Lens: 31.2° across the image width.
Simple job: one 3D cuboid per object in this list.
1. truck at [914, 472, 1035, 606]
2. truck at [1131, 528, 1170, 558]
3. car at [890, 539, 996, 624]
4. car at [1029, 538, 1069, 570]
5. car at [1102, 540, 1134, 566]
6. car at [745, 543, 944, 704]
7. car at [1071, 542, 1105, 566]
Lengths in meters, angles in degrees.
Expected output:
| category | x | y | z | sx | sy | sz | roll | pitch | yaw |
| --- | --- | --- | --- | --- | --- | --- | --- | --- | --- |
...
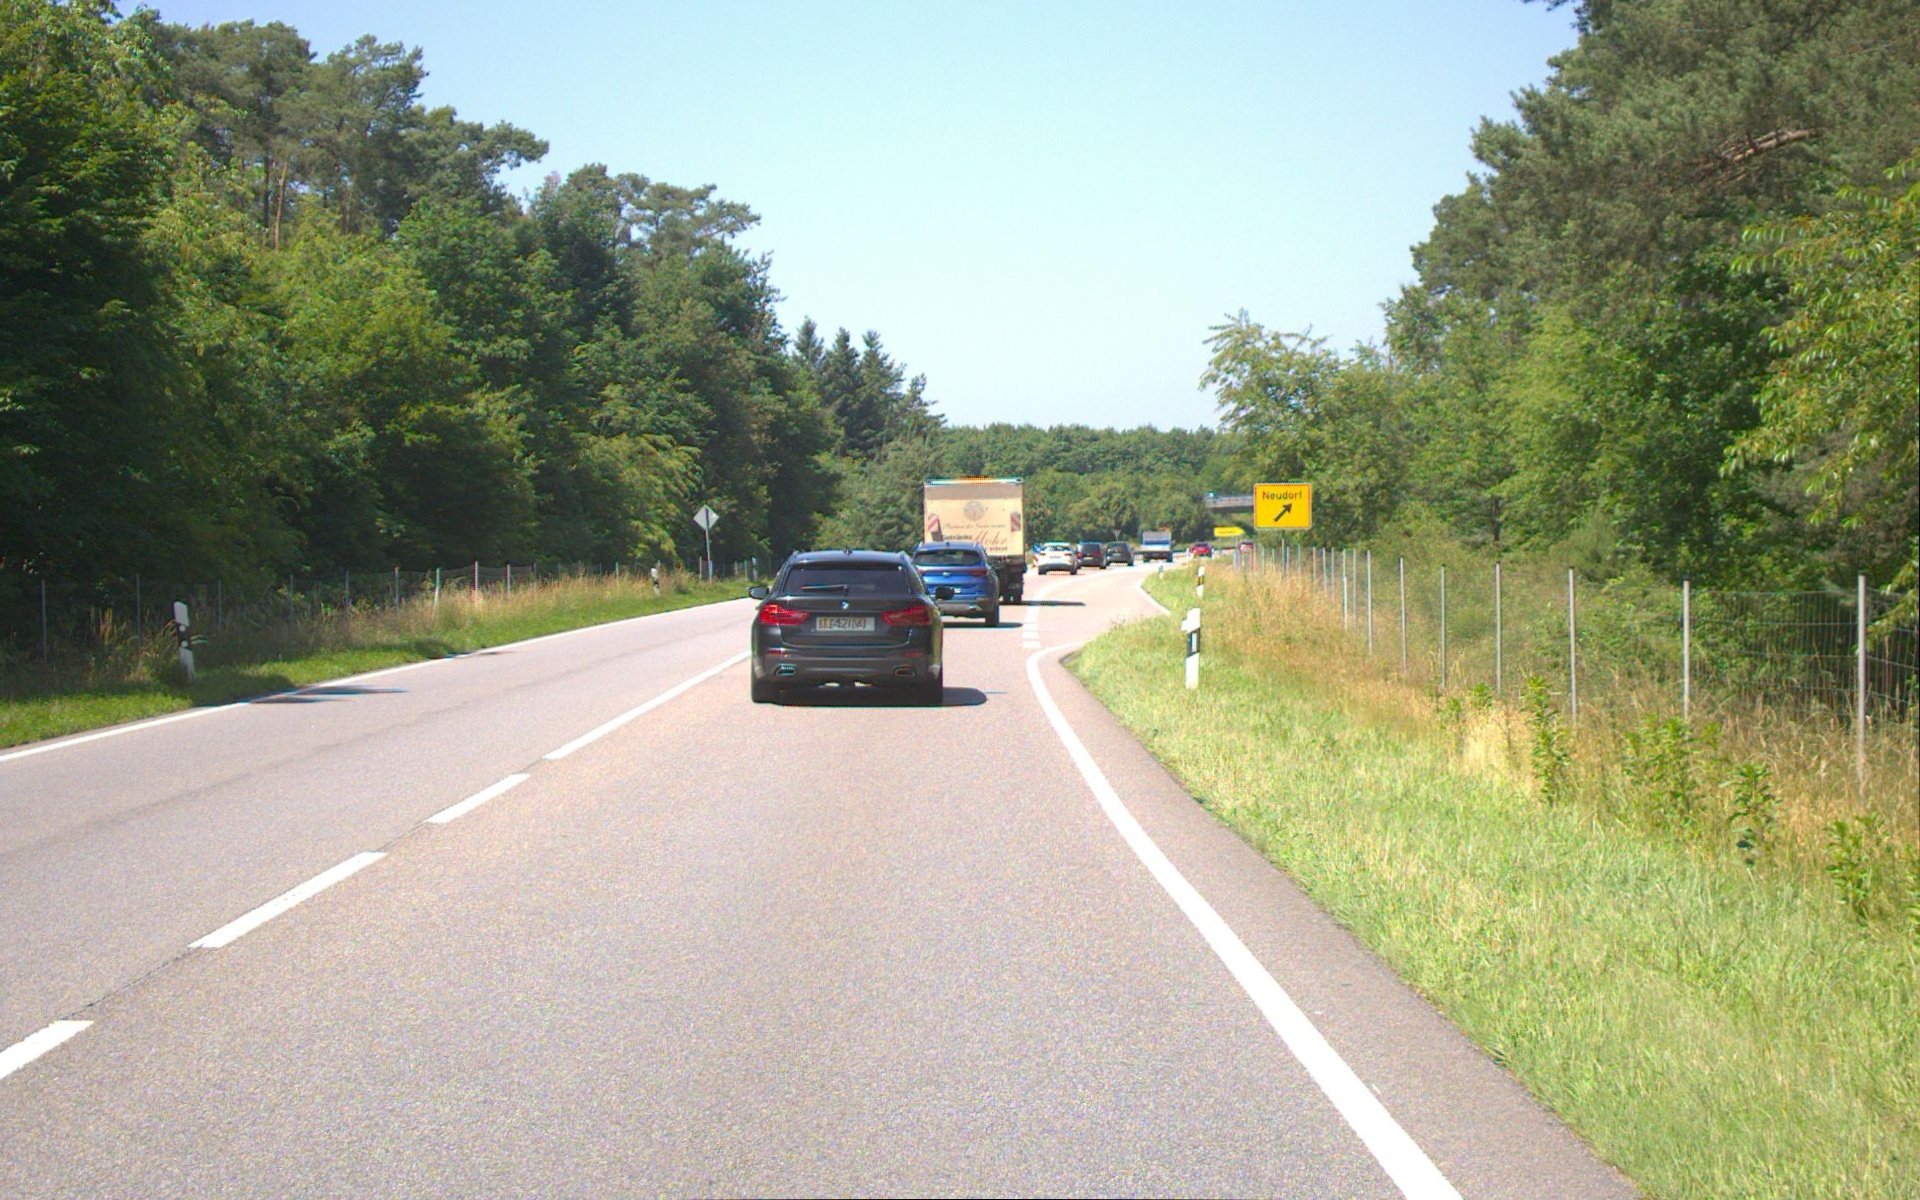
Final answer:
| category | x | y | z | sx | sy | sz | roll | pitch | yaw |
| --- | --- | --- | --- | --- | --- | --- | --- | --- | --- |
| truck | 0.436 | -1.622 | 90.195 | 2.966 | 3.376 | 6.438 | -1 | 1 | 2 |
| truck | 14.483 | -4.339 | 261.762 | 2.563 | 2.195 | 4.974 | -1 | 1 | -2 |
| car | -0.339 | -0.377 | 66.286 | 1.947 | 1.536 | 4.000 | -2 | 1 | -1 |
| car | 4.569 | -2.382 | 177.075 | 1.863 | 1.600 | 4.000 | -1 | 1 | -1 |
| car | 10.558 | -3.159 | 229.720 | 1.994 | 1.631 | 4.000 | -1 | 1 | 4 |
| car | -1.203 | 0.188 | 34.220 | 1.820 | 1.465 | 4.001 | -1 | 1 | -4 |
| car | 7.710 | -2.771 | 207.117 | 1.994 | 1.415 | 4.000 | 0 | 1 | 3 |
